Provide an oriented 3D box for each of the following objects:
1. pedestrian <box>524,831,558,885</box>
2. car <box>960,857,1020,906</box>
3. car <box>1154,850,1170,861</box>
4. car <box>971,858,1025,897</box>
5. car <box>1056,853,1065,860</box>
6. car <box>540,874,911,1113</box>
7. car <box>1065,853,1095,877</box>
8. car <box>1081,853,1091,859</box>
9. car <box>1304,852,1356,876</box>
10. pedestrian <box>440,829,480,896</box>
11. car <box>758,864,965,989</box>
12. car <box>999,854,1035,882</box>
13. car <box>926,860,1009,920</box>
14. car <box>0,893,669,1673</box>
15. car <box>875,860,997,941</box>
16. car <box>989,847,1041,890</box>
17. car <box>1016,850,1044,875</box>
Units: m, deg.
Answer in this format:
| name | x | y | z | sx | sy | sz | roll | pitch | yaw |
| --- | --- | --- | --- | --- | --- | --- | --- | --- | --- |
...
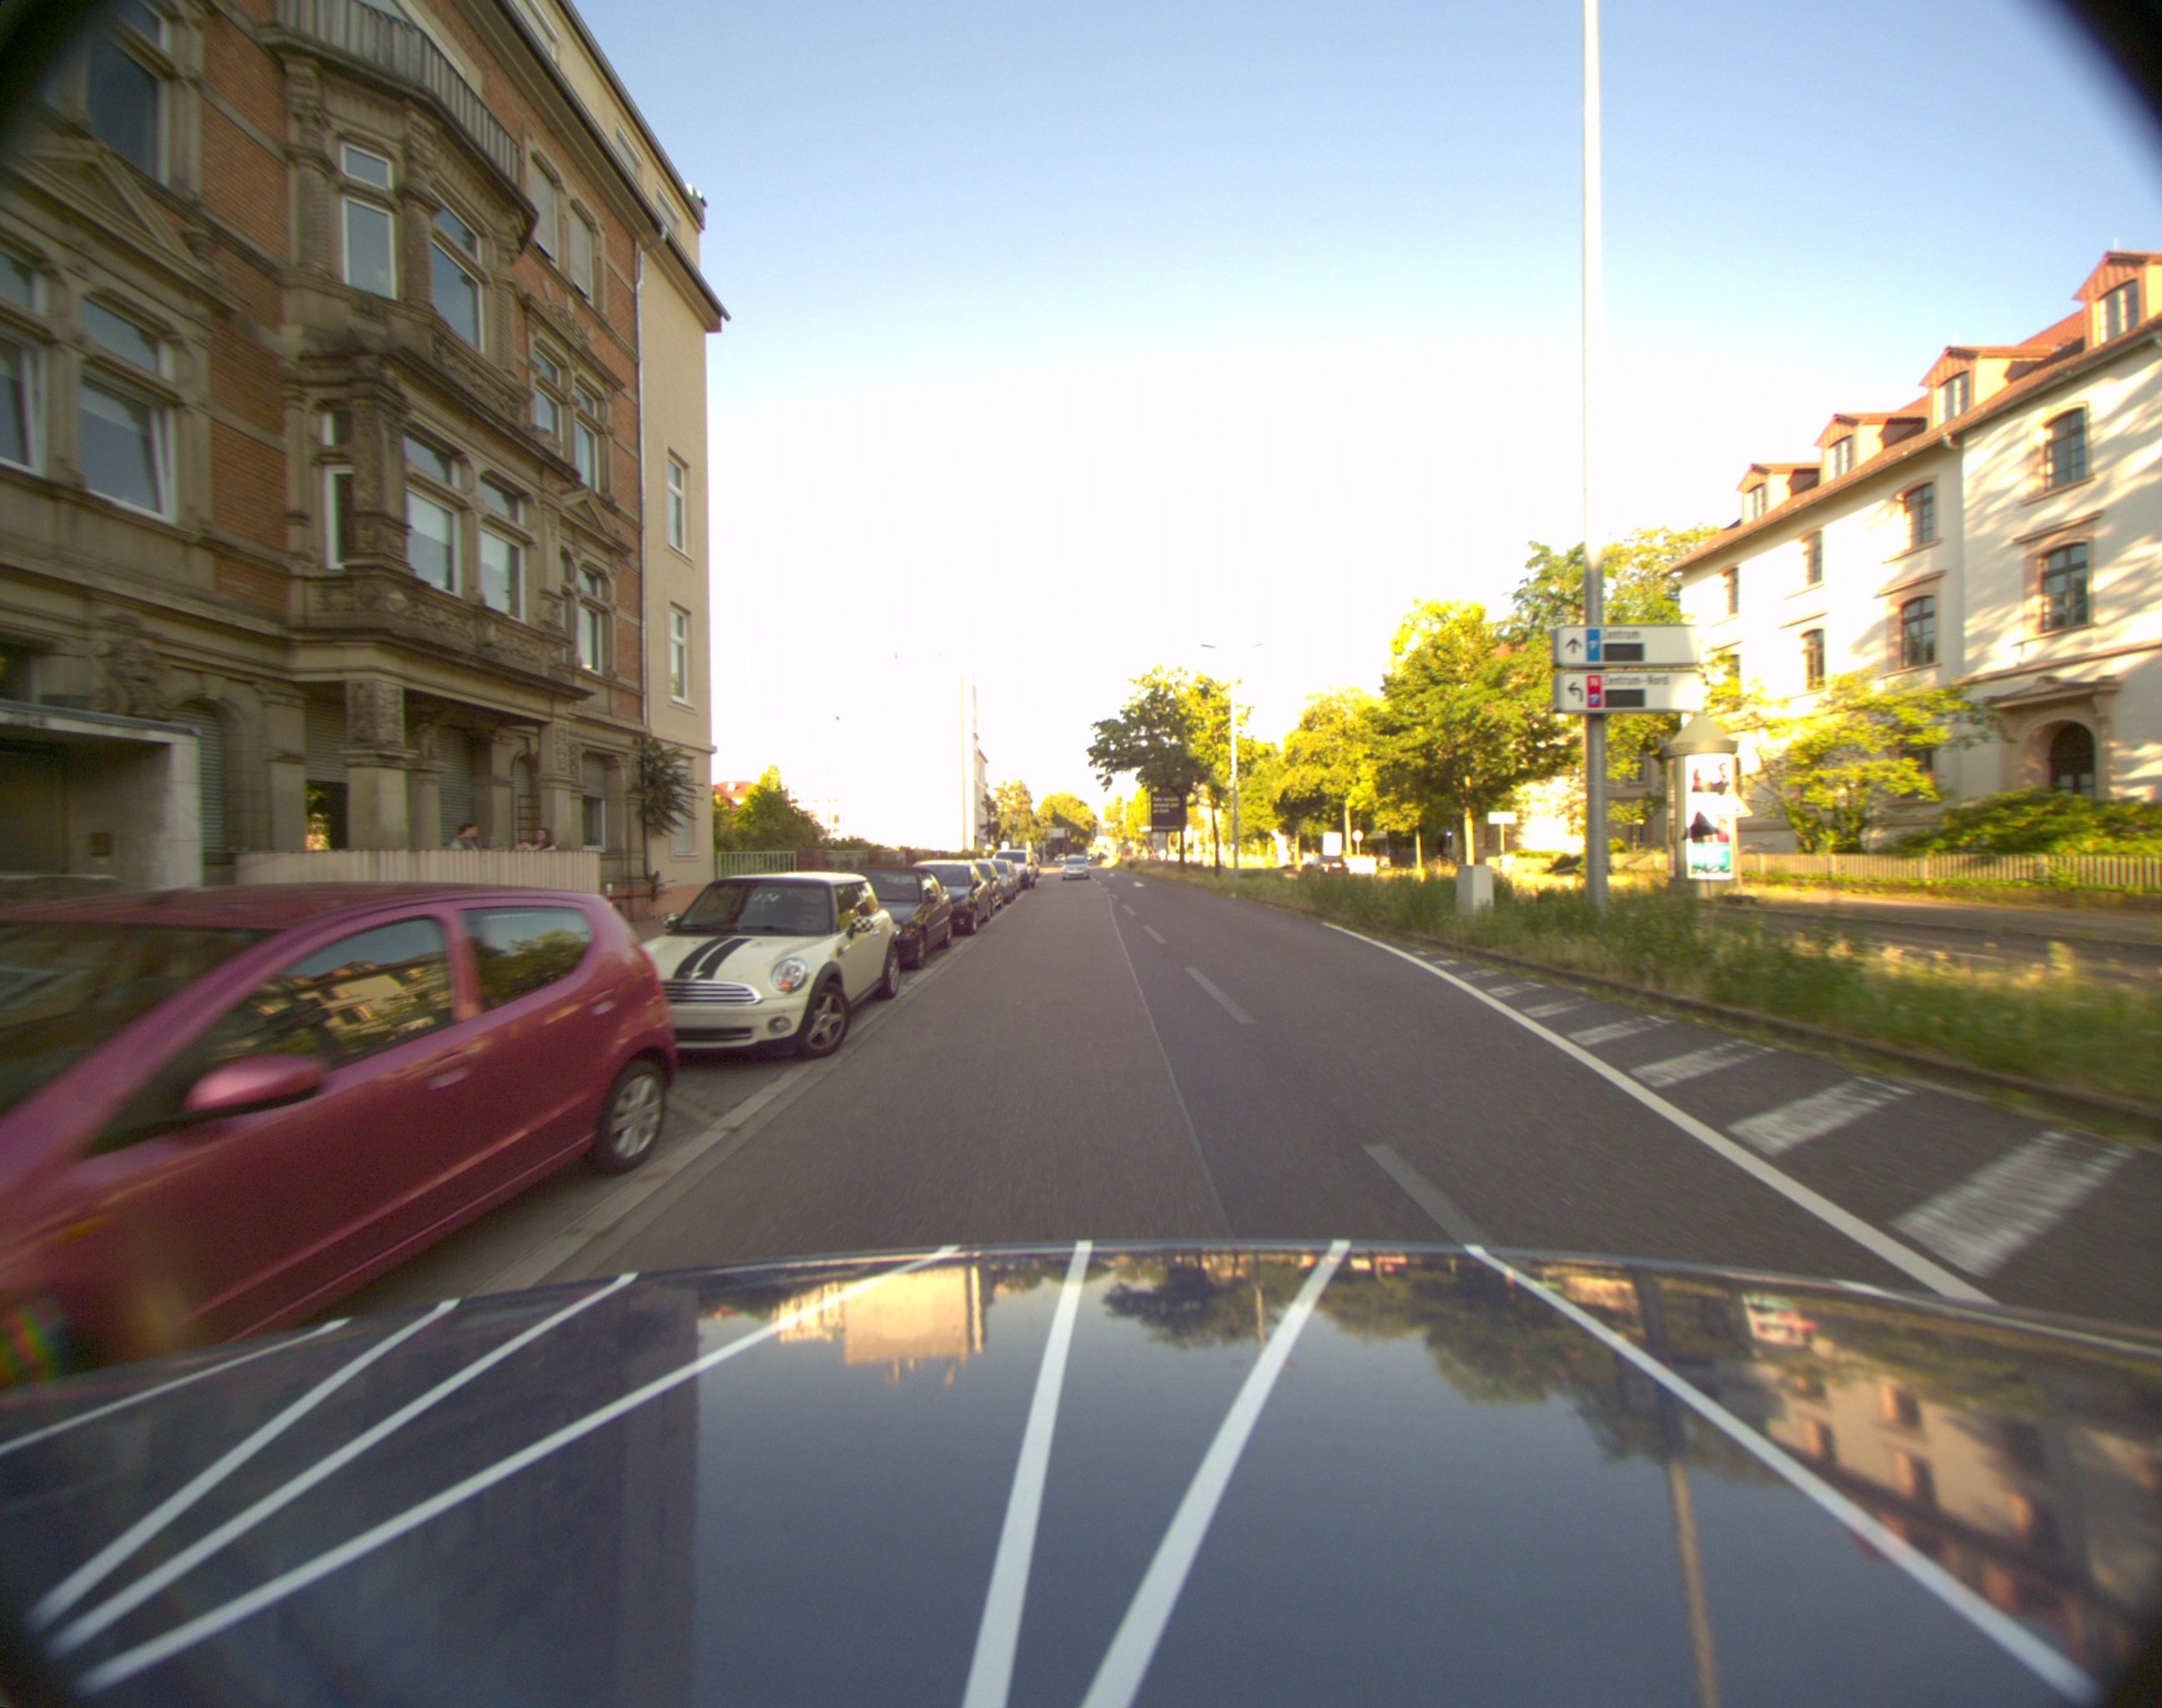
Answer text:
| name | x | y | z | sx | sy | sz | roll | pitch | yaw |
| --- | --- | --- | --- | --- | --- | --- | --- | --- | --- |
| pedestrian | -8.883 | 0.064 | 12.492 | 0.309 | 0.865 | 0.320 | -2 | 1 | 33 |
| car | -3.083 | 0.882 | 26.380 | 1.705 | 1.479 | 3.891 | 2 | 1 | -2 |
| car | 11.274 | 0.257 | 105.586 | 1.778 | 1.409 | 4.007 | 2 | 1 | 0 |
| car | -3.363 | 0.925 | 31.538 | 1.732 | 1.377 | 4.642 | 2 | 1 | 0 |
| car | -4.485 | 0.455 | 166.681 | 1.948 | 1.514 | 4.162 | 0 | 0 | -2 |
| car | -2.775 | 0.983 | 6.897 | 1.681 | 1.418 | 3.675 | 2 | 1 | -2 |
| car | -0.073 | 0.697 | 49.306 | 1.895 | 1.455 | 3.965 | 0 | 0 | -1 |
| car | 1.111 | 0.493 | 165.545 | 1.948 | 1.259 | 4.162 | 0 | 0 | -2 |
| car | 14.649 | 0.566 | 44.925 | 1.778 | 1.266 | 4.007 | 2 | 1 | 0 |
| pedestrian | -9.722 | 0.129 | 11.898 | 0.402 | 1.023 | 0.320 | -2 | 1 | 33 |
| car | -3.097 | 0.939 | 11.737 | 1.892 | 1.418 | 4.341 | 2 | 1 | 0 |
| car | -3.773 | 0.802 | 45.577 | 1.778 | 1.565 | 4.499 | 2 | 0 | 0 |
| car | -3.089 | 0.936 | 21.329 | 1.751 | 1.418 | 3.839 | 2 | 1 | -1 |
| car | -3.120 | 0.980 | 2.280 | 1.730 | 1.456 | 3.546 | 2 | 1 | 1 |
| car | -3.047 | 0.917 | 16.920 | 1.892 | 1.439 | 4.463 | 2 | 1 | -1 |
| car | -3.170 | 0.655 | 37.513 | 1.892 | 1.907 | 5.179 | 2 | 1 | 1 |
| car | -3.950 | 0.627 | 59.217 | 1.778 | 1.818 | 4.555 | 1 | 1 | 0 |
